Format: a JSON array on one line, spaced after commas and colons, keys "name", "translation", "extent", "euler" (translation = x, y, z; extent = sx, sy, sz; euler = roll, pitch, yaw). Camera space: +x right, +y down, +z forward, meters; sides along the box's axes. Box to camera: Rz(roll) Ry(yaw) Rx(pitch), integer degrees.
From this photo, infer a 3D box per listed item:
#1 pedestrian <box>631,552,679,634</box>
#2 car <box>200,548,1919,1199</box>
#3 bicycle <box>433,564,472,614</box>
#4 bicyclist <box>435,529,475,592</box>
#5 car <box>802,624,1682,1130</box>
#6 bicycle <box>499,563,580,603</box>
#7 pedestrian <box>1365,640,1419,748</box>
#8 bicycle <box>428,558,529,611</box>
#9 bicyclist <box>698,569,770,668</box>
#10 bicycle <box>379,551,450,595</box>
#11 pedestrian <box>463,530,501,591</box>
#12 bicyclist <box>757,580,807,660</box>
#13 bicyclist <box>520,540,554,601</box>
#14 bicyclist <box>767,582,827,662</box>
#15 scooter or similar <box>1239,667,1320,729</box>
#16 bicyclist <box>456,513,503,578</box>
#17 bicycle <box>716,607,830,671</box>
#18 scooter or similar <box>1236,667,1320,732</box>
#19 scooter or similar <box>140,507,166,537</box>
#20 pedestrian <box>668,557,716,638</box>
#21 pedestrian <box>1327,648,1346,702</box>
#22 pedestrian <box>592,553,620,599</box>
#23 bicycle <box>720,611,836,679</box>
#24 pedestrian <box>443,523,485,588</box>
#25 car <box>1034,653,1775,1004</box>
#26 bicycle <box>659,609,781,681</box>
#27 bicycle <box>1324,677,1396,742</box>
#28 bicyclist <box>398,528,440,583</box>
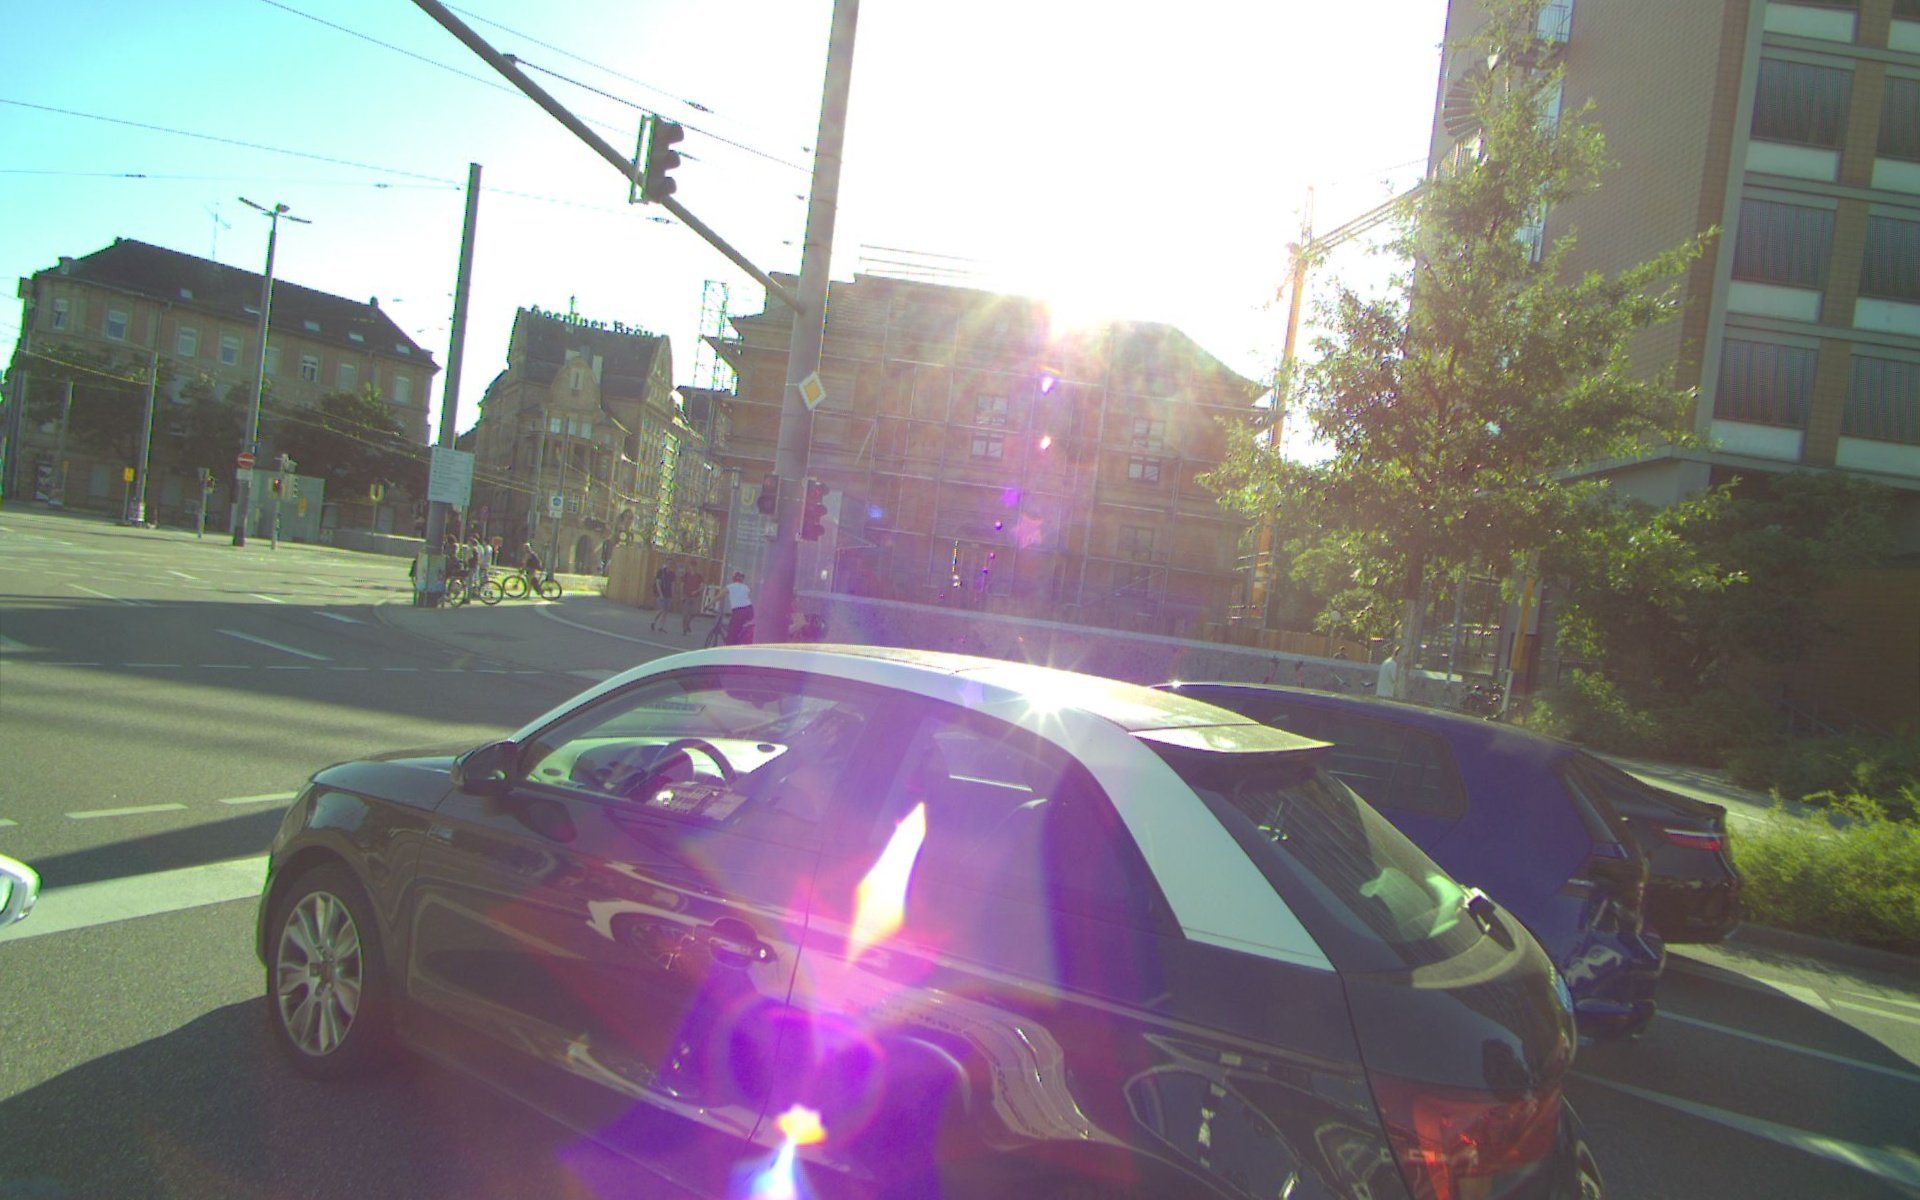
[{"name": "pedestrian", "translation": [-7.172, -0.167, 23.670], "extent": [0.672, 1.830, 0.672], "euler": [7, 2, 11]}, {"name": "car", "translation": [-0.199, 0.805, 2.792], "extent": [3.934, 1.420, 1.627], "euler": [6, -2, 32]}, {"name": "bicycle", "translation": [-12.718, -0.299, 25.178], "extent": [0.693, 1.061, 2.303], "euler": [9, -1, -29]}, {"name": "bicyclist", "translation": [-12.663, -0.973, 25.223], "extent": [0.702, 1.456, 0.940], "euler": [8, -1, -29]}, {"name": "car", "translation": [1.270, 1.101, 5.353], "extent": [3.934, 1.420, 1.627], "euler": [6, -2, 32]}, {"name": "bicycle", "translation": [-13.240, -0.534, 31.724], "extent": [2.289, 1.063, 0.532], "euler": [5, 2, -25]}, {"name": "pedestrian", "translation": [7.045, 1.516, 16.397], "extent": [0.592, 1.662, 0.677], "euler": [7, 3, 29]}, {"name": "bicycle", "translation": [-12.807, -0.402, 26.811], "extent": [2.294, 1.061, 0.696], "euler": [8, -2, -28]}, {"name": "bicyclist", "translation": [-3.860, 0.327, 17.222], "extent": [0.781, 1.571, 0.667], "euler": [7, -1, 28]}, {"name": "bicycle", "translation": [-16.964, -0.844, 31.271], "extent": [2.278, 1.061, 0.536], "euler": [8, -1, 24]}, {"name": "pedestrian", "translation": [-16.235, -1.326, 34.174], "extent": [0.678, 1.945, 0.649], "euler": [7, -1, 25]}, {"name": "bicyclist", "translation": [-3.483, 0.408, 19.753], "extent": [0.661, 1.471, 0.618], "euler": [7, -1, 5]}, {"name": "bicyclist", "translation": [-13.316, -0.924, 31.662], "extent": [0.785, 1.800, 0.520], "euler": [8, -1, -23]}, {"name": "bicyclist", "translation": [-2.917, 0.403, 18.011], "extent": [0.662, 1.330, 0.617], "euler": [7, -1, 27]}, {"name": "scooter or similar", "translation": [6.155, 1.887, 19.420], "extent": [1.346, 1.007, 0.343], "euler": [7, -1, 13]}, {"name": "bicyclist", "translation": [-12.781, -1.432, 26.767], "extent": [0.936, 1.575, 0.705], "euler": [8, -1, -28]}, {"name": "bicycle", "translation": [-3.659, 0.752, 19.733], "extent": [1.997, 0.976, 0.660], "euler": [7, 2, 5]}, {"name": "scooter or similar", "translation": [5.911, 1.839, 18.705], "extent": [1.348, 1.007, 0.342], "euler": [7, -1, 25]}, {"name": "scooter or similar", "translation": [-42.081, -4.069, 52.437], "extent": [0.784, 1.392, 1.885], "euler": [8, -2, -44]}, {"name": "pedestrian", "translation": [-6.416, -0.038, 24.086], "extent": [0.672, 1.828, 0.672], "euler": [7, -1, 11]}, {"name": "pedestrian", "translation": [12.626, 2.514, 33.767], "extent": [0.369, 1.752, 0.444], "euler": [7, -1, 17]}, {"name": "pedestrian", "translation": [-15.107, -1.035, 42.940], "extent": [0.678, 1.835, 0.649], "euler": [7, -1, 25]}, {"name": "bicycle", "translation": [-3.304, 0.796, 18.175], "extent": [1.999, 0.976, 0.659], "euler": [6, 2, 27]}, {"name": "pedestrian", "translation": [-16.485, -1.470, 33.429], "extent": [0.748, 2.037, 0.733], "euler": [7, -1, 25]}, {"name": "car", "translation": [2.980, 1.410, 7.461], "extent": [4.436, 1.420, 1.727], "euler": [6, -2, 31]}, {"name": "bicycle", "translation": [-4.153, 0.762, 17.344], "extent": [1.999, 0.974, 0.660], "euler": [6, -1, 27]}, {"name": "bicycle", "translation": [7.222, 1.970, 18.202], "extent": [0.352, 1.015, 1.149], "euler": [8, -2, -29]}, {"name": "bicyclist", "translation": [-16.781, -1.382, 31.229], "extent": [0.930, 1.575, 0.516], "euler": [7, -1, 23]}]
